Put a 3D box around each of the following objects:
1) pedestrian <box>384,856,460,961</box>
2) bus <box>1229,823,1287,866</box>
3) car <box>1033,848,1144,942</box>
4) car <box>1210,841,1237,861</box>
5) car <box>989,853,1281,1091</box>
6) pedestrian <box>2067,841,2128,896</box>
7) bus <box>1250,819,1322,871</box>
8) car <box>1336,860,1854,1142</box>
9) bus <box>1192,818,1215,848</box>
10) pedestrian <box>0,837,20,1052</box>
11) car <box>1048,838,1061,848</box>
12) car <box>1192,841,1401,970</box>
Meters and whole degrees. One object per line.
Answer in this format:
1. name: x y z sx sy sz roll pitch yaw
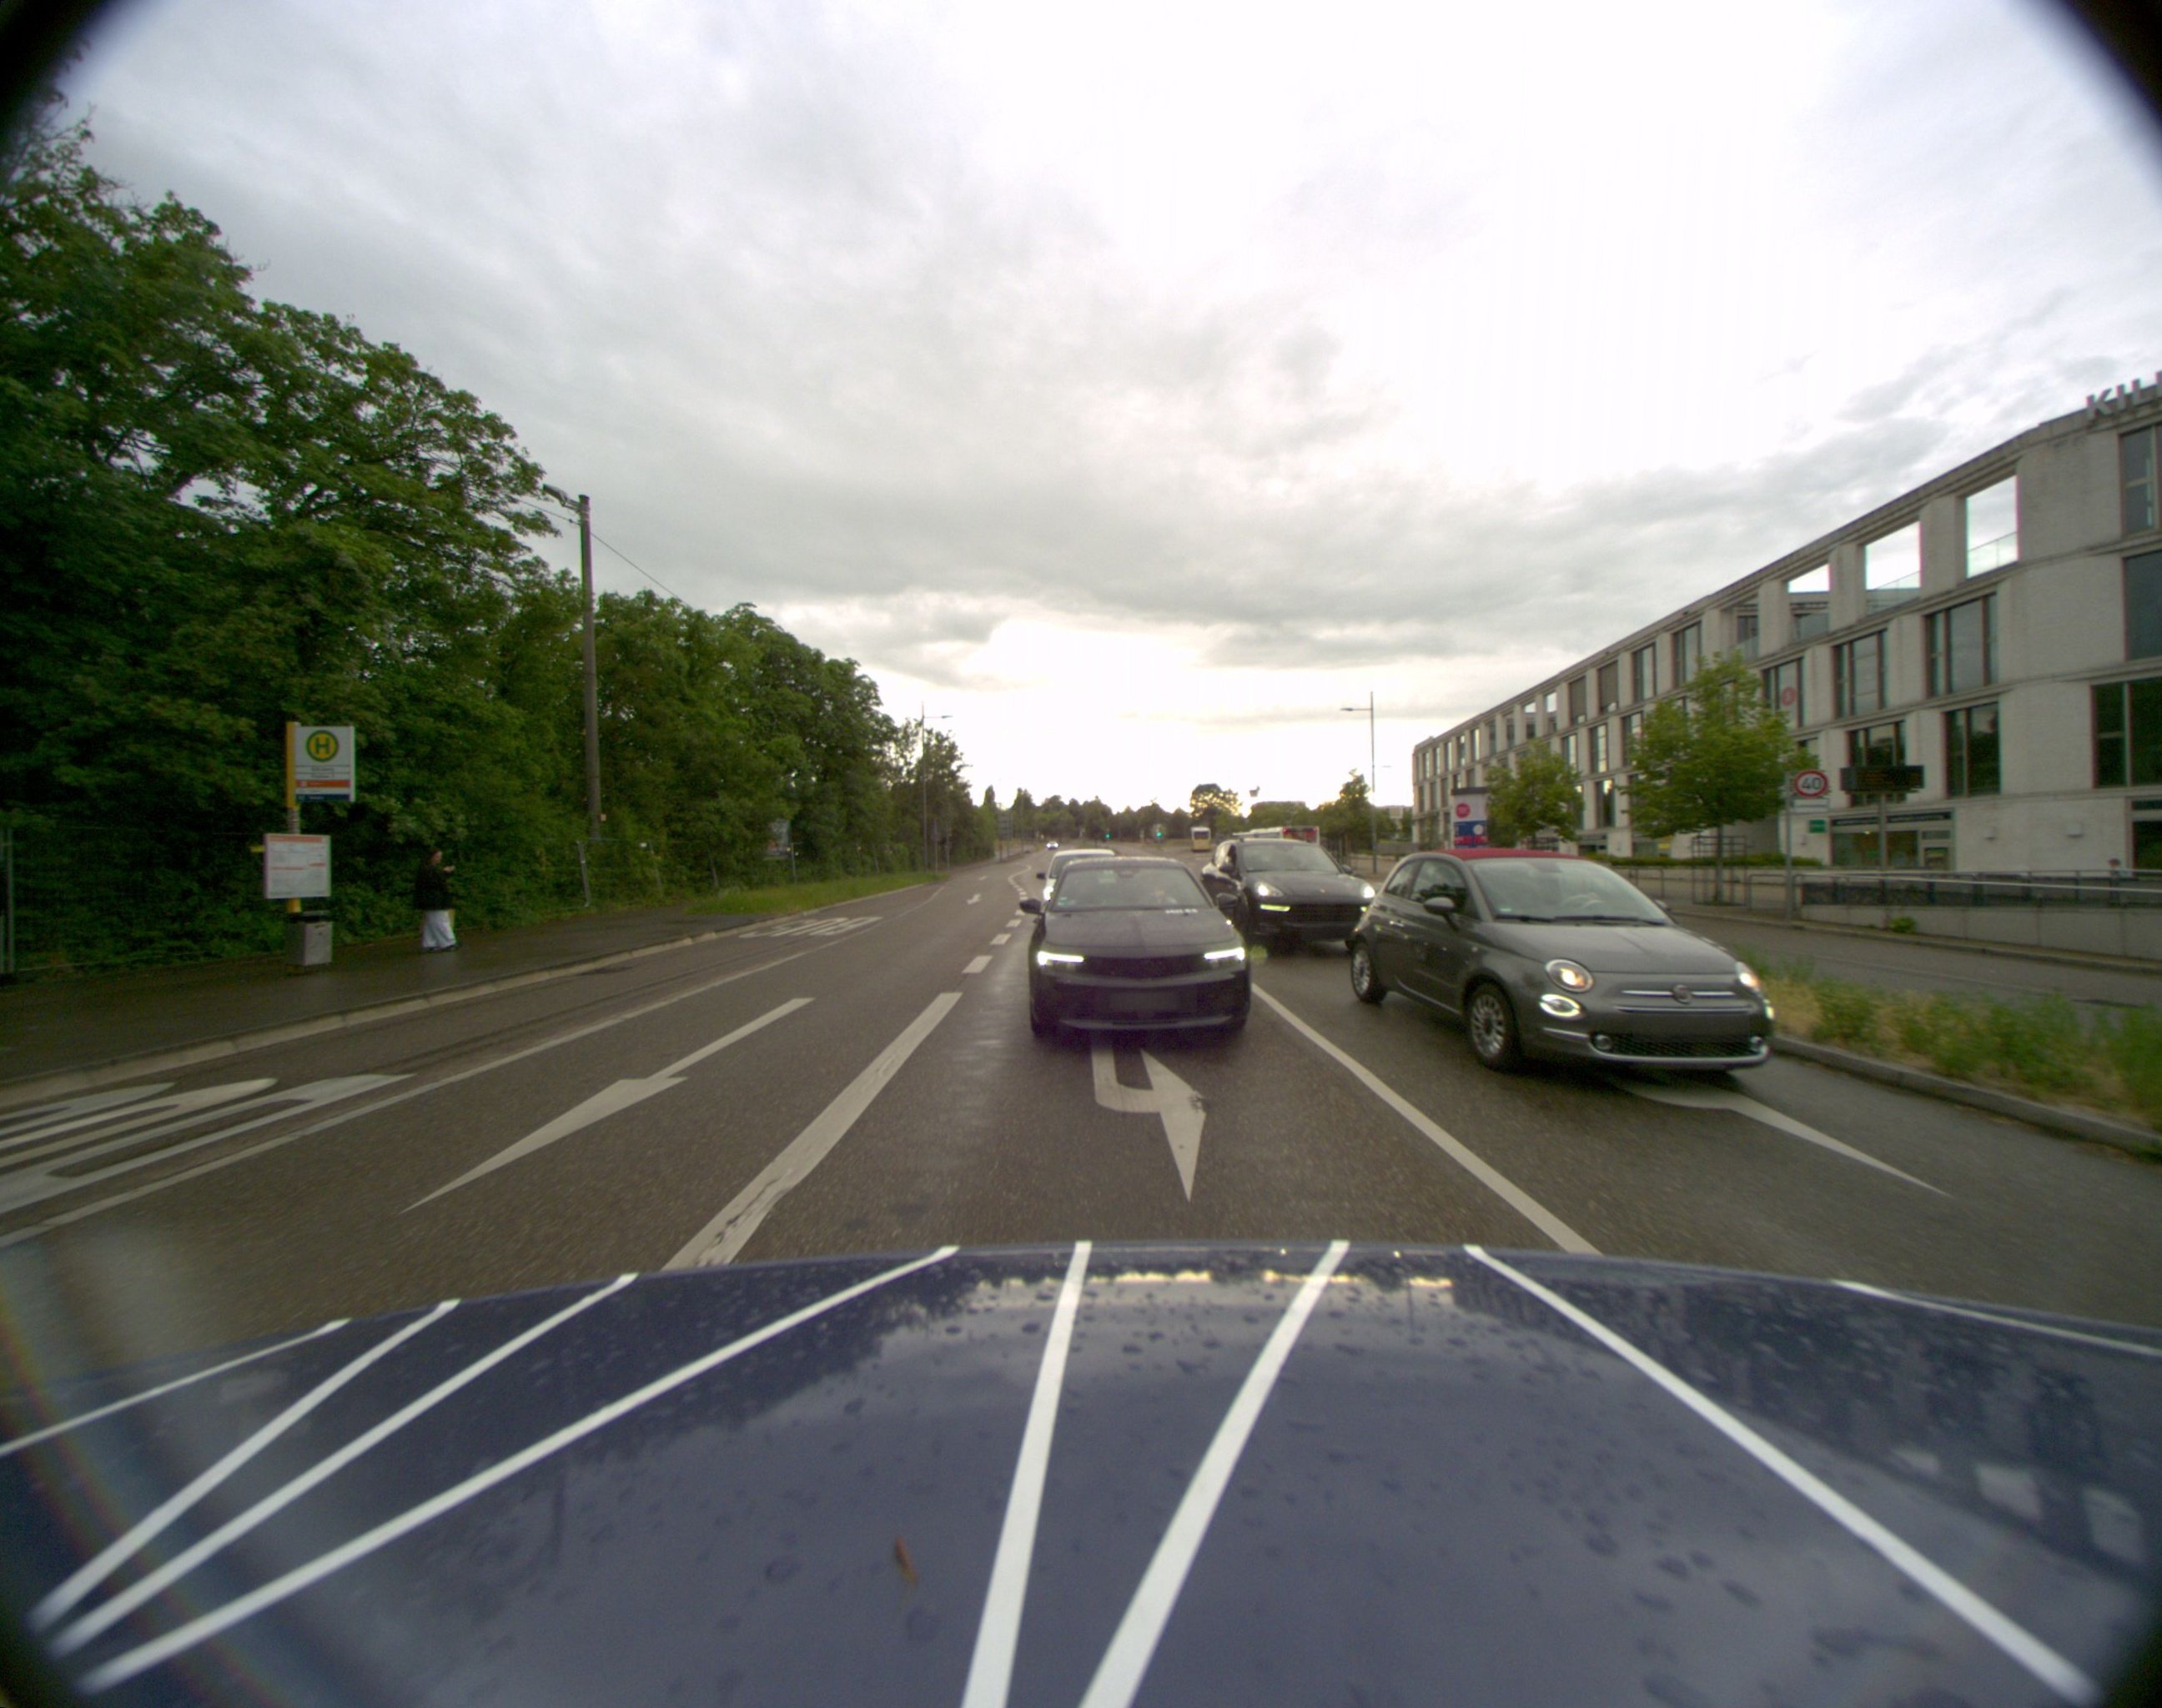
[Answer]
1. pedestrian: -10.526 0.854 12.160 0.588 1.619 0.661 -1 1 1
2. bus: 14.342 -0.833 62.225 2.693 3.163 9.912 -2 1 2
3. car: 0.167 0.705 15.685 1.901 1.524 4.767 -2 1 1
4. car: 13.852 -0.297 73.906 1.867 1.777 3.999 -2 1 1
5. car: 0.401 0.795 7.461 1.901 1.456 4.767 -2 1 1
6. pedestrian: 30.283 0.413 22.644 0.765 1.596 0.913 -1 1 -22
7. bus: 14.016 -0.636 52.722 2.759 3.194 9.207 -2 1 2
8. car: 3.449 0.827 5.973 1.631 1.473 3.505 -1 1 -2
9. bus: 18.872 -3.126 116.391 2.757 4.130 19.358 -2 1 11
10. pedestrian: -10.144 0.823 6.669 0.742 1.938 0.597 -1 1 1
11. car: -5.103 -2.036 146.425 2.000 1.805 3.996 -2 1 -9
12. car: 3.136 0.641 12.172 1.934 1.649 4.616 -1 1 -2
